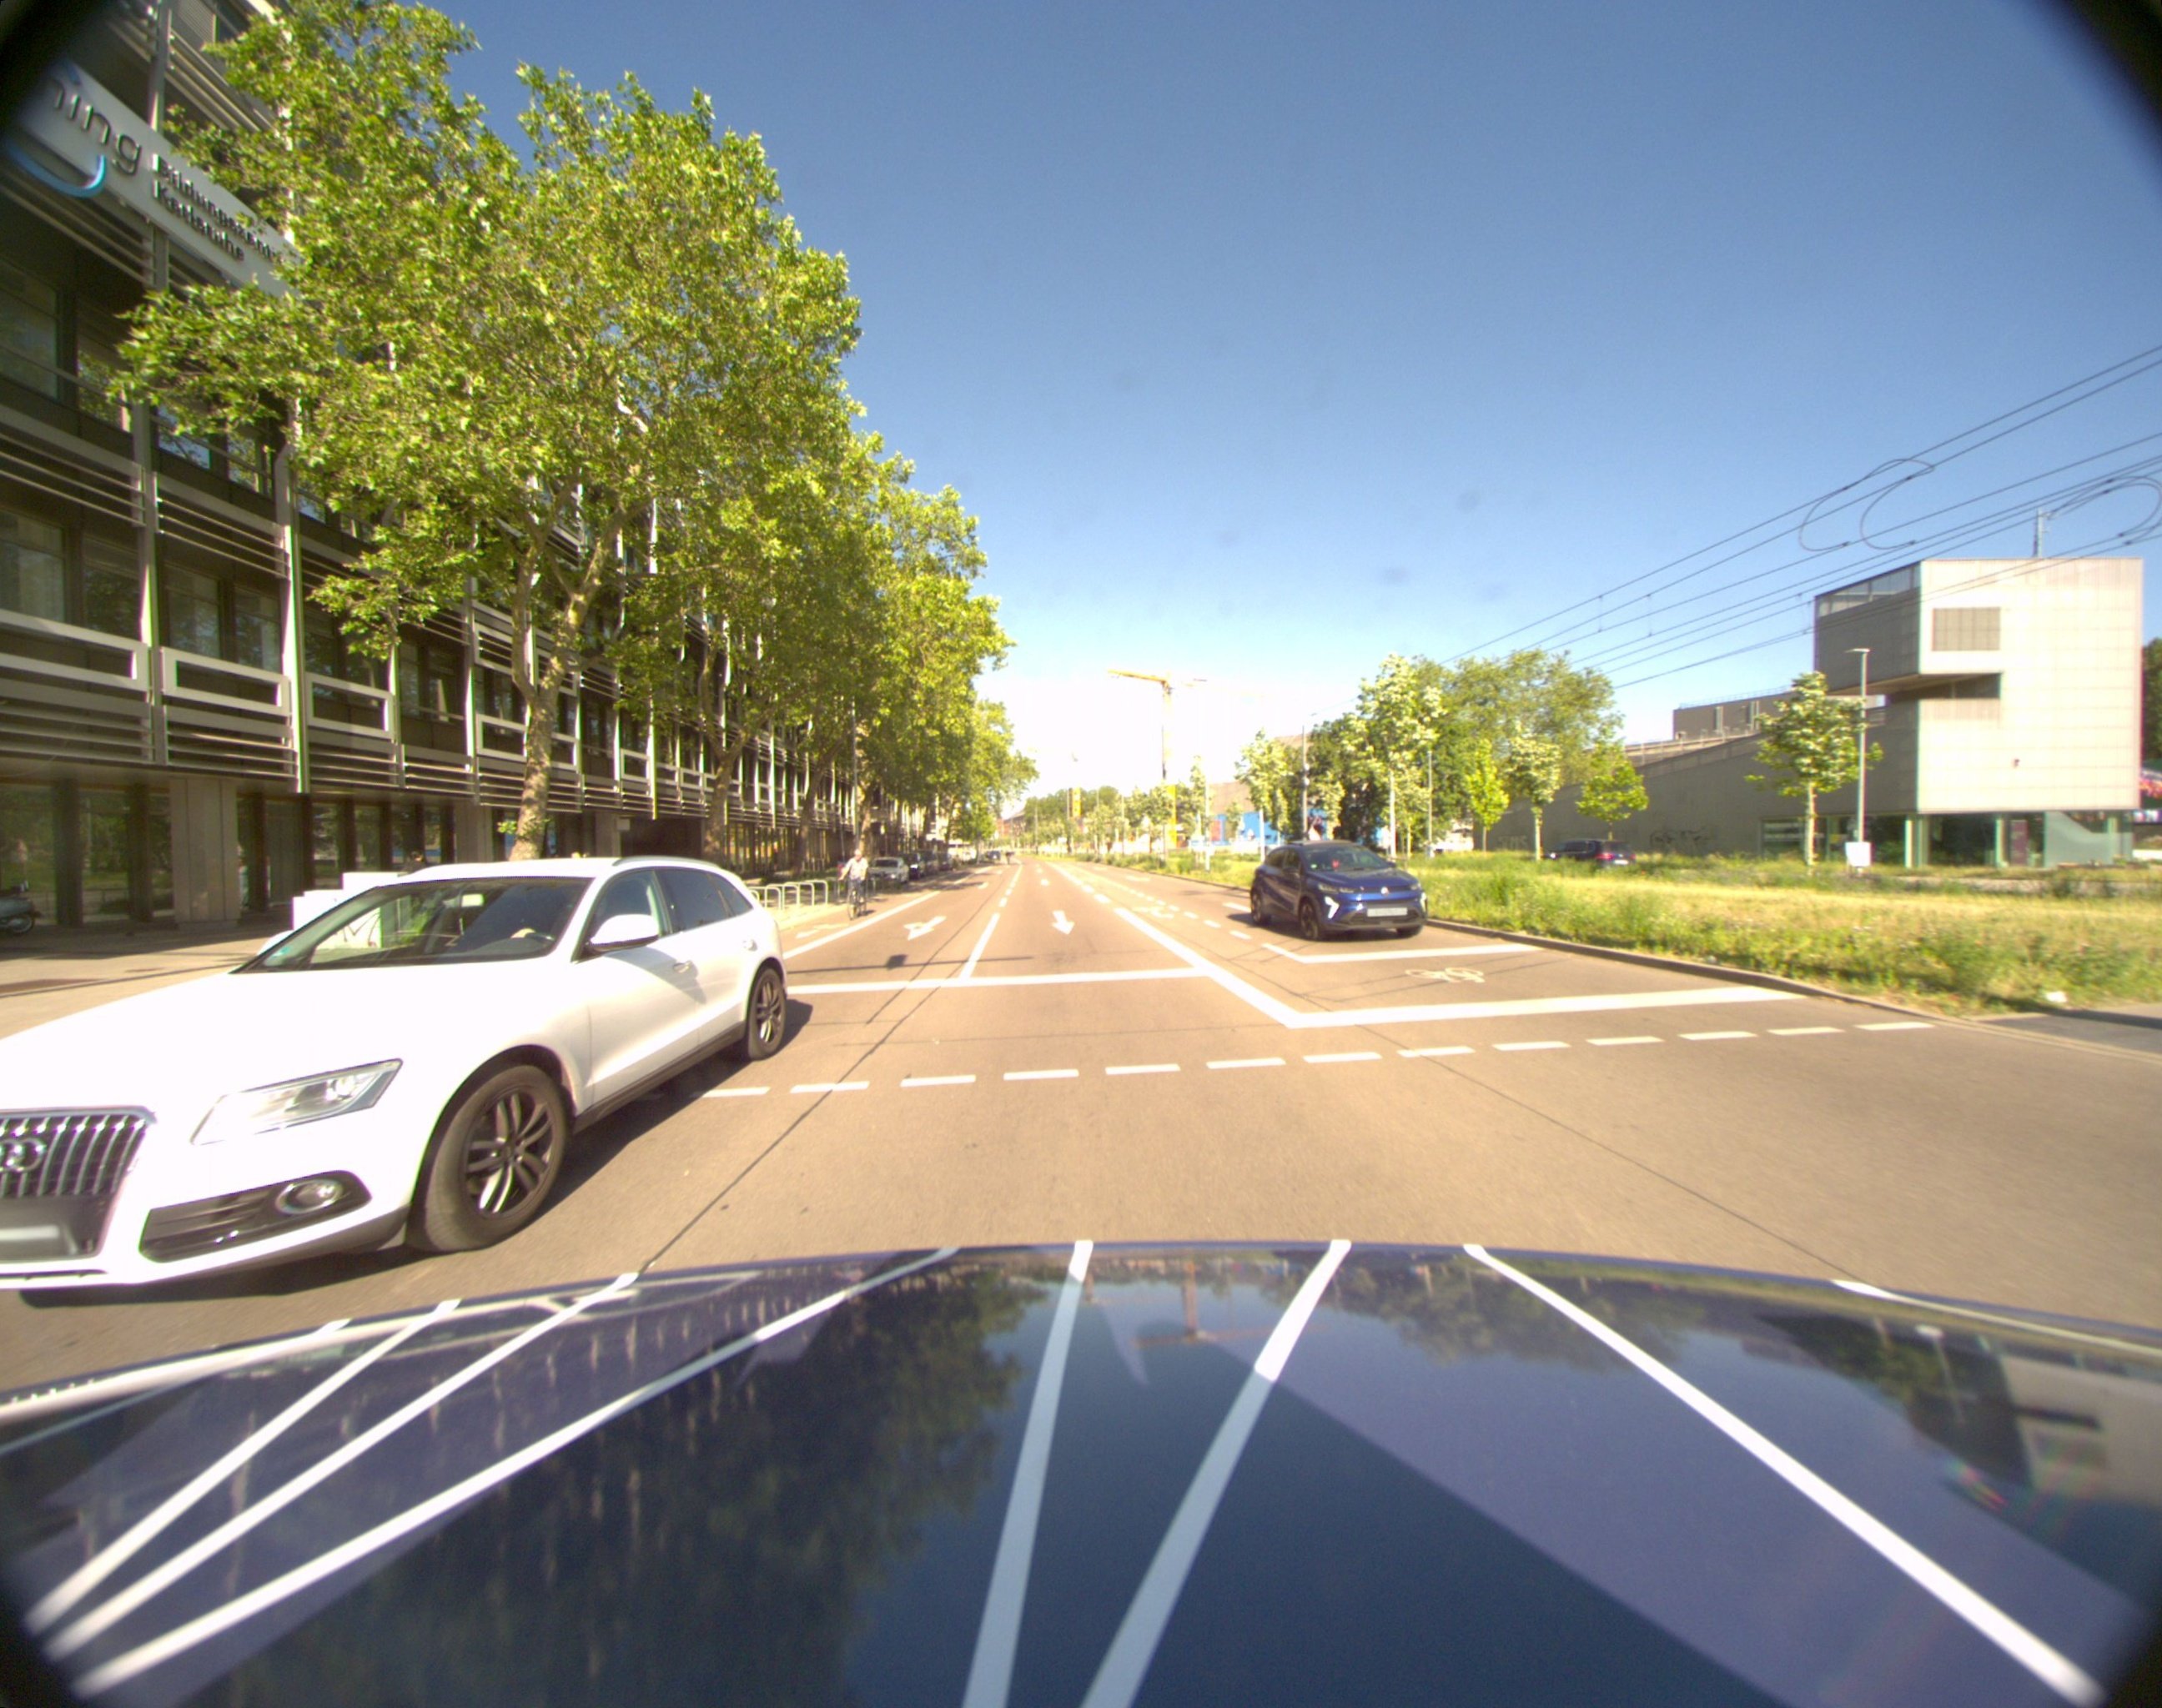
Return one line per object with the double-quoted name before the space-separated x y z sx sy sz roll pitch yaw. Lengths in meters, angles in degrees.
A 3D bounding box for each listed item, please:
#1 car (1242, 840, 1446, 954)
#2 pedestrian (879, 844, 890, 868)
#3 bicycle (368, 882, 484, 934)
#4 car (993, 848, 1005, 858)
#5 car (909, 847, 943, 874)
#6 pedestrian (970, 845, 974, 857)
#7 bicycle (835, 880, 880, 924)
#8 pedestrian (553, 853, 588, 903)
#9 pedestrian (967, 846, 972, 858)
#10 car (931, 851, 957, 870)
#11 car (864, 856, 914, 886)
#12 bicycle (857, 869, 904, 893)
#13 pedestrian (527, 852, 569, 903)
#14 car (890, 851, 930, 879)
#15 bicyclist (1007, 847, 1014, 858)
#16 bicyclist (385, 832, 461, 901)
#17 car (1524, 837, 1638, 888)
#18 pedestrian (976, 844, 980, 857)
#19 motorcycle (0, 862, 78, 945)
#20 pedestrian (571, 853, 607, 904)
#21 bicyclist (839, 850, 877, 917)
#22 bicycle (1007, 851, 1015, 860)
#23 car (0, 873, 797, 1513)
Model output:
"car" 4.287 0.606 13.145 1.775 1.579 4.085 -3 1 -5
"pedestrian" -16.518 0.185 63.916 0.741 2.002 0.626 -1 1 -1
"bicycle" -14.535 1.173 16.953 0.883 0.979 2.050 -1 1 -4
"car" -13.698 -0.246 127.250 1.999 1.598 3.894 -1 1 -5
"car" -10.716 0.423 52.881 1.753 1.811 4.335 0 1 -4
"pedestrian" -17.327 -0.444 121.170 0.591 1.830 0.569 -1 1 -4
"bicycle" -5.860 1.234 20.046 0.711 0.987 1.922 -3 1 -5
"pedestrian" -16.514 0.760 24.597 0.668 1.591 0.727 1 1 -3
"pedestrian" -17.252 -0.320 117.640 0.591 1.830 0.696 -1 1 -4
"car" -11.555 0.493 64.255 1.753 1.545 4.335 0 1 -4
"car" -10.144 0.854 40.453 1.753 1.481 4.558 0 1 -4
"bicycle" -8.534 1.153 32.408 1.849 0.955 0.711 1 1 -8
"pedestrian" -17.256 0.734 24.609 0.668 1.591 1.009 1 1 -3
"car" -10.554 0.629 47.117 1.753 1.624 4.335 0 1 -4
"bicyclist" -8.866 -0.198 96.049 0.830 1.380 0.903 -1 1 -3
"bicyclist" -14.530 0.269 16.804 0.883 1.468 0.883 -1 1 -4
"car" 20.376 0.299 31.201 1.876 1.944 3.998 -1 1 -4
"pedestrian" -15.733 -0.534 116.312 0.591 1.830 0.569 -1 1 -4
"motorcycle" -19.352 0.886 13.286 0.825 1.433 2.121 -1 1 -3
"pedestrian" -15.798 0.775 24.398 0.668 1.591 0.727 1 1 -3
"bicyclist" -5.883 0.762 20.047 0.711 1.678 0.852 -3 1 -5
"bicycle" -8.868 0.139 96.052 0.845 1.123 2.552 -1 1 -3
"car" -3.342 1.006 4.284 1.824 1.604 4.411 -1 1 -1
